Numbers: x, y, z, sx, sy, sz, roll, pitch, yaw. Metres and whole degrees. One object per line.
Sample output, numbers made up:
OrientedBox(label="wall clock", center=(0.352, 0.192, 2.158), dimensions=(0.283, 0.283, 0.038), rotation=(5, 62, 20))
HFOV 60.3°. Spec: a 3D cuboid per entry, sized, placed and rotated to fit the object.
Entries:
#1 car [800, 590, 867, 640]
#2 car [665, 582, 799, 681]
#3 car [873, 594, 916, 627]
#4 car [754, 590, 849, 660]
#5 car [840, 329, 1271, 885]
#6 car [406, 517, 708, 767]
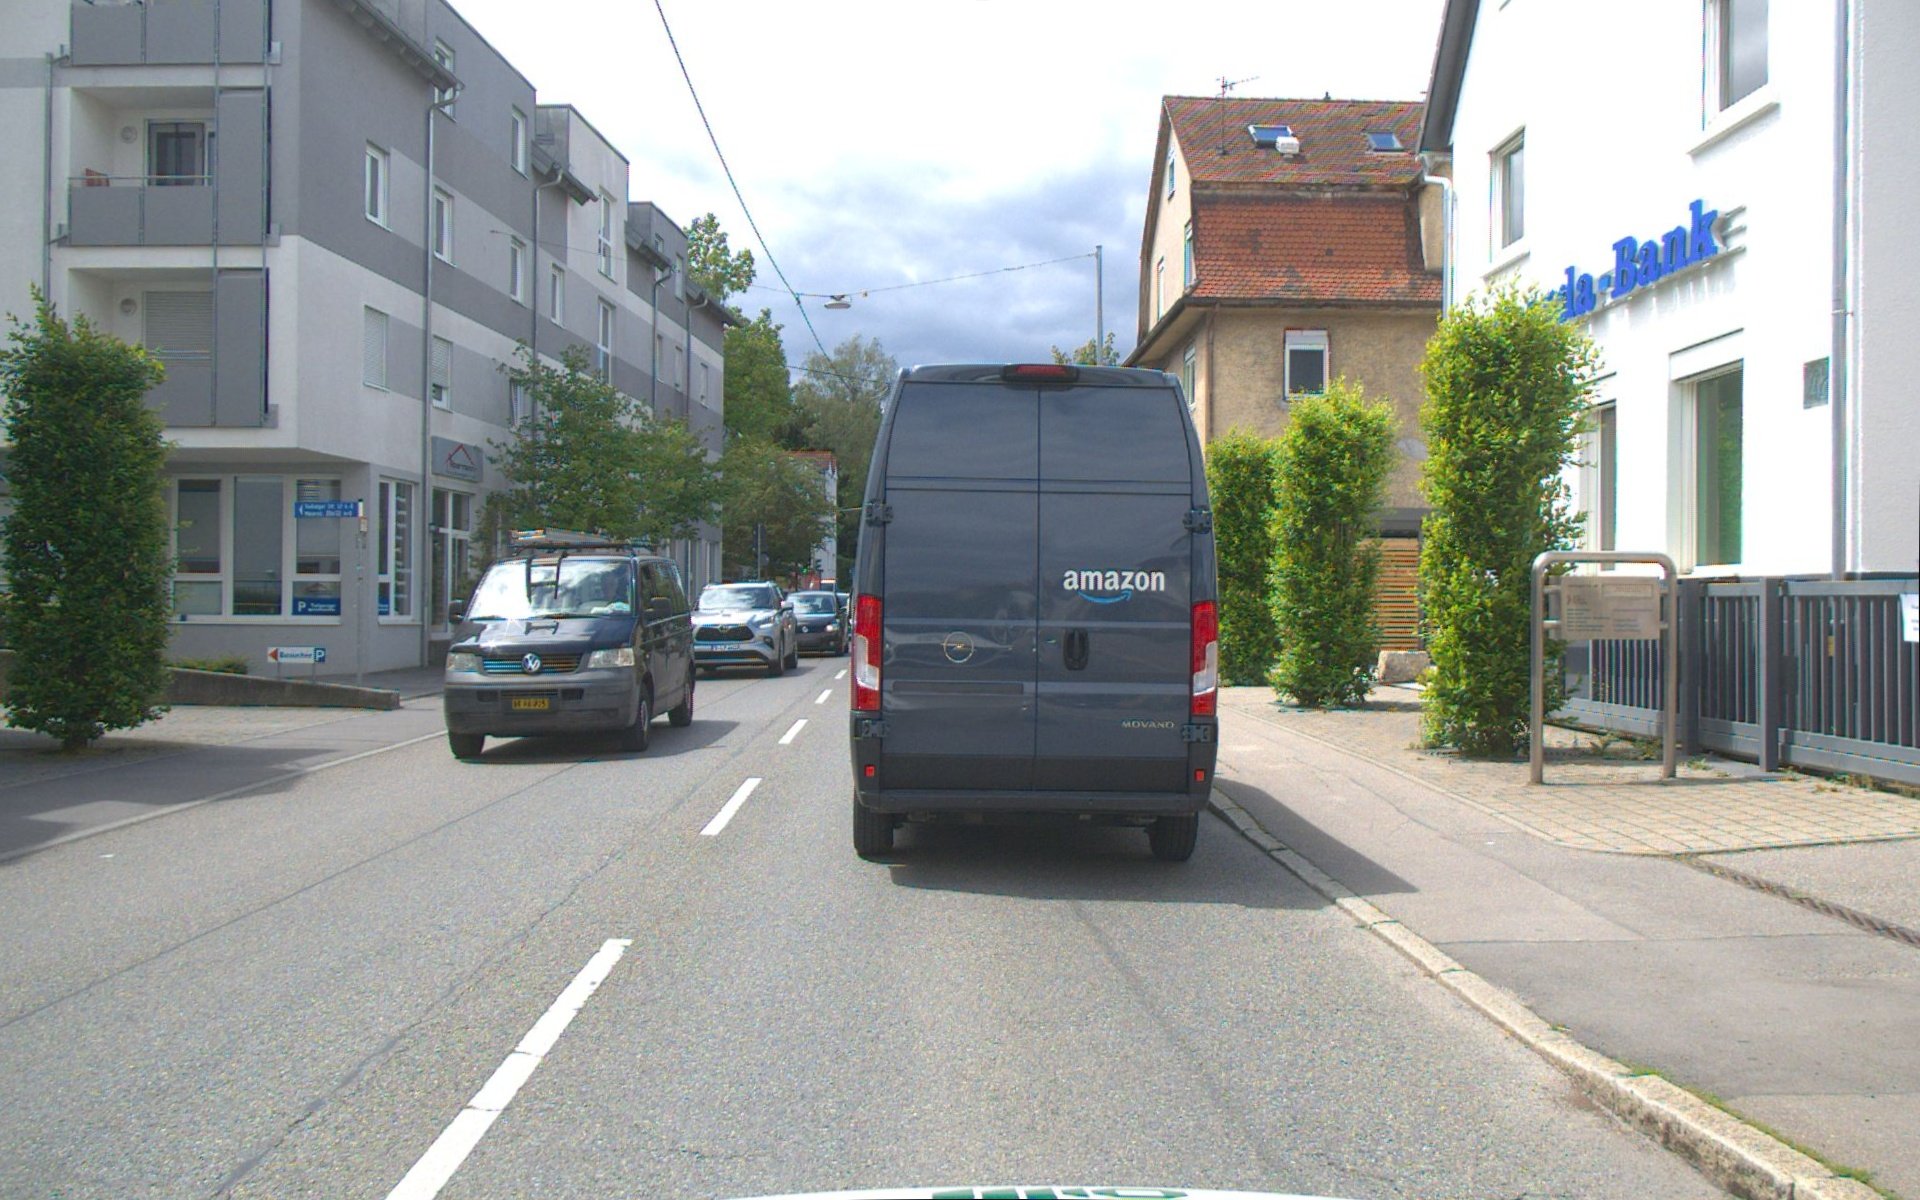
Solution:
OrientedBox(label="car", center=(-4.190, 0.475, 55.393), dimensions=(2.063, 1.624, 4.648), rotation=(0, 0, -2))
OrientedBox(label="car", center=(-4.256, 0.555, 31.540), dimensions=(2.063, 1.739, 4.763), rotation=(0, 0, -2))
OrientedBox(label="car", center=(-3.271, 0.501, 82.686), dimensions=(2.063, 1.624, 4.648), rotation=(0, 0, -2))
OrientedBox(label="car", center=(-3.853, 0.575, 40.853), dimensions=(2.063, 1.624, 4.648), rotation=(0, 0, -2))
OrientedBox(label="car", center=(0.453, 0.024, 11.272), dimensions=(2.207, 2.844, 5.568), rotation=(0, 0, -1))
OrientedBox(label="car", center=(-3.963, 0.362, 17.179), dimensions=(2.063, 2.158, 4.763), rotation=(-2, 0, -2))
